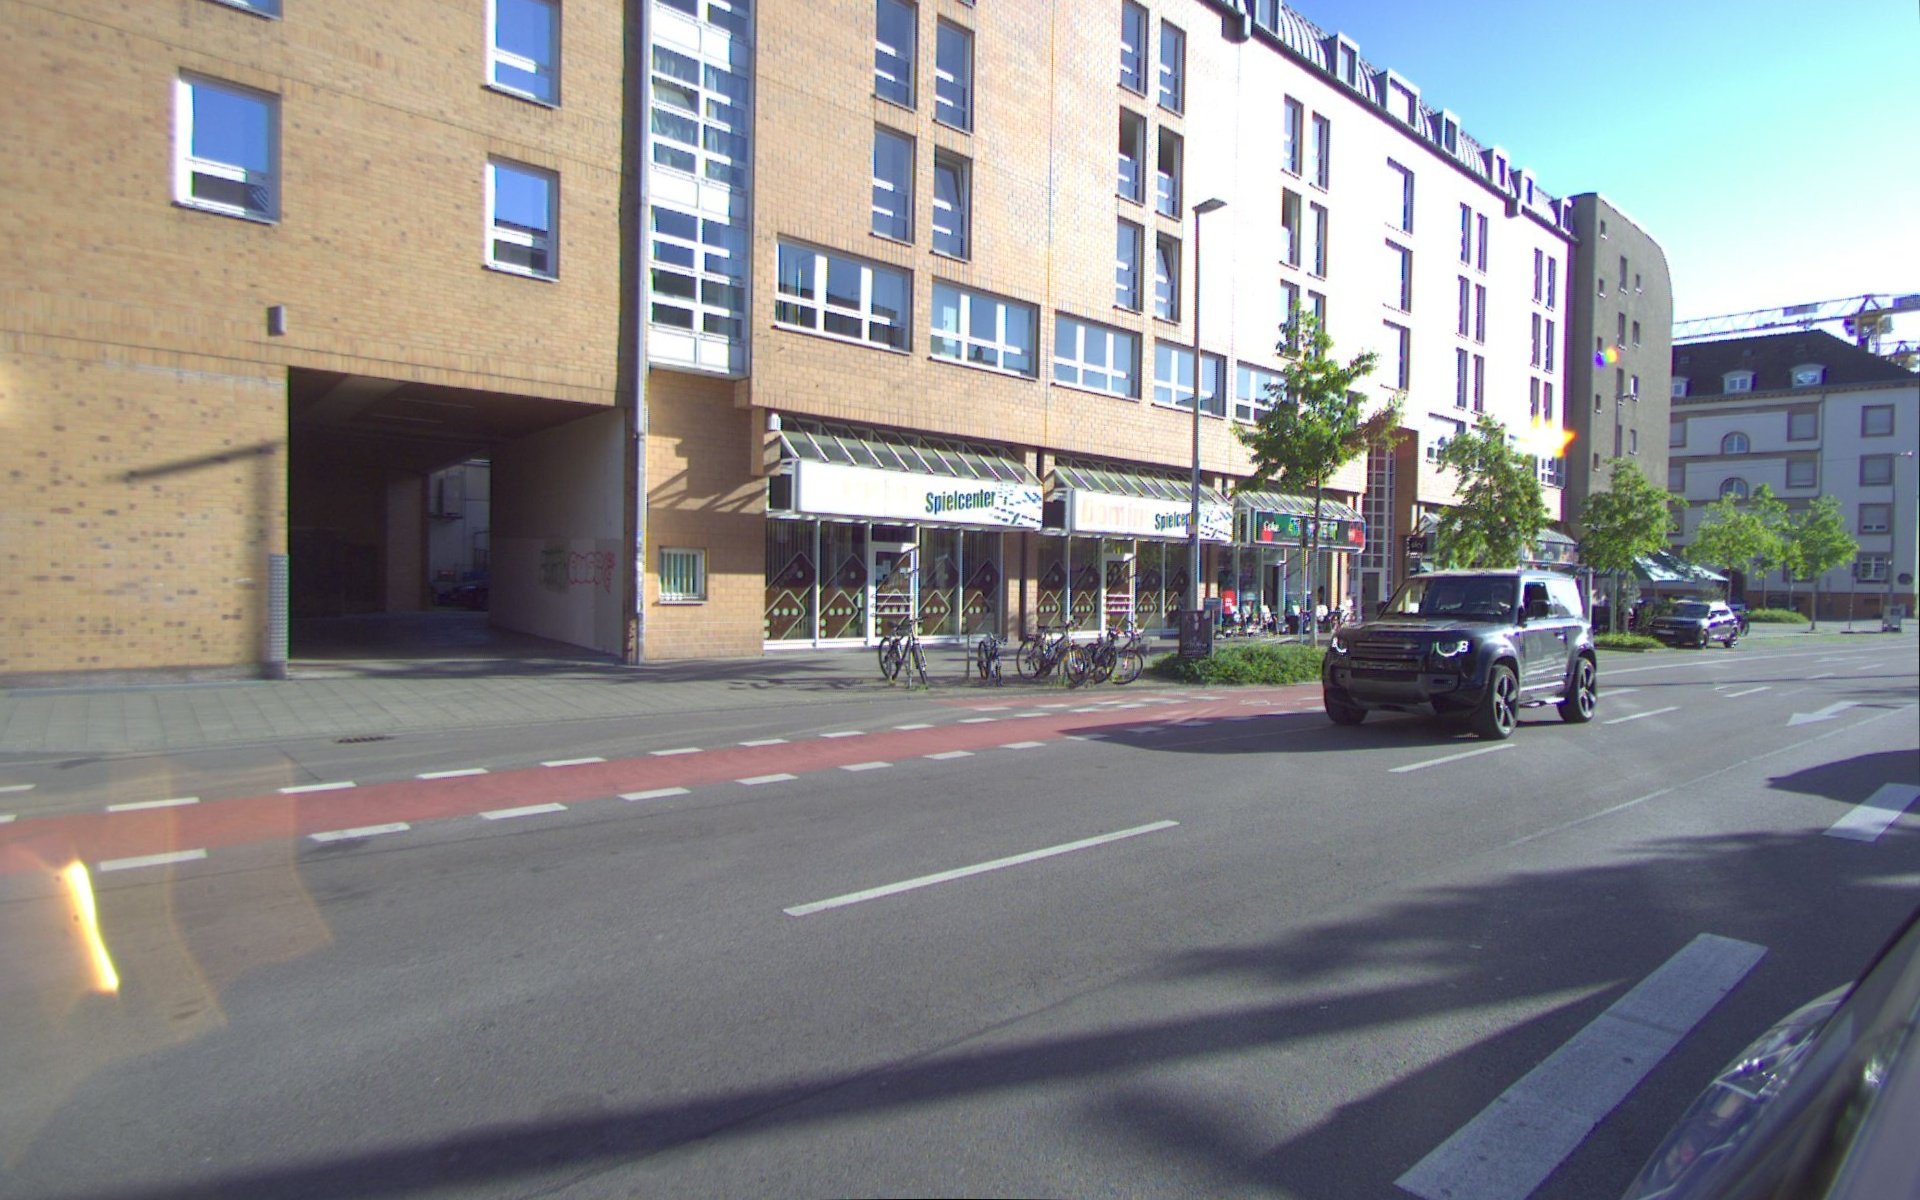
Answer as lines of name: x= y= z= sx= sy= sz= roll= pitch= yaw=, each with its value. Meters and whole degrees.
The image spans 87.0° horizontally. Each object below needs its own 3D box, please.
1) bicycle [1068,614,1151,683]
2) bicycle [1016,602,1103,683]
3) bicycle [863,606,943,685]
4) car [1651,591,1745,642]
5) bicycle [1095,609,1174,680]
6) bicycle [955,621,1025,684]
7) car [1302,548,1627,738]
bicycle: x=2.578 y=0.817 z=17.637 sx=0.440 sy=0.997 sz=1.843 roll=0 pitch=3 yaw=-26
bicycle: x=1.660 y=0.684 z=17.201 sx=0.553 sy=1.177 sz=1.843 roll=0 pitch=3 yaw=-26
bicycle: x=-0.944 y=0.700 z=16.323 sx=0.423 sy=1.089 sz=1.776 roll=-1 pitch=4 yaw=-35
car: x=25.774 y=0.538 z=35.326 sx=3.929 sy=1.660 sz=1.778 roll=0 pitch=1 yaw=-41
bicycle: x=3.051 y=0.758 z=17.866 sx=0.343 sy=1.069 sz=1.843 roll=0 pitch=3 yaw=-26
bicycle: x=0.470 y=0.849 z=16.855 sx=0.359 sy=0.842 sz=1.779 roll=0 pitch=3 yaw=-26
car: x=6.392 y=0.460 z=12.615 sx=4.395 sy=1.939 sz=2.162 roll=1 pitch=-1 yaw=-42
